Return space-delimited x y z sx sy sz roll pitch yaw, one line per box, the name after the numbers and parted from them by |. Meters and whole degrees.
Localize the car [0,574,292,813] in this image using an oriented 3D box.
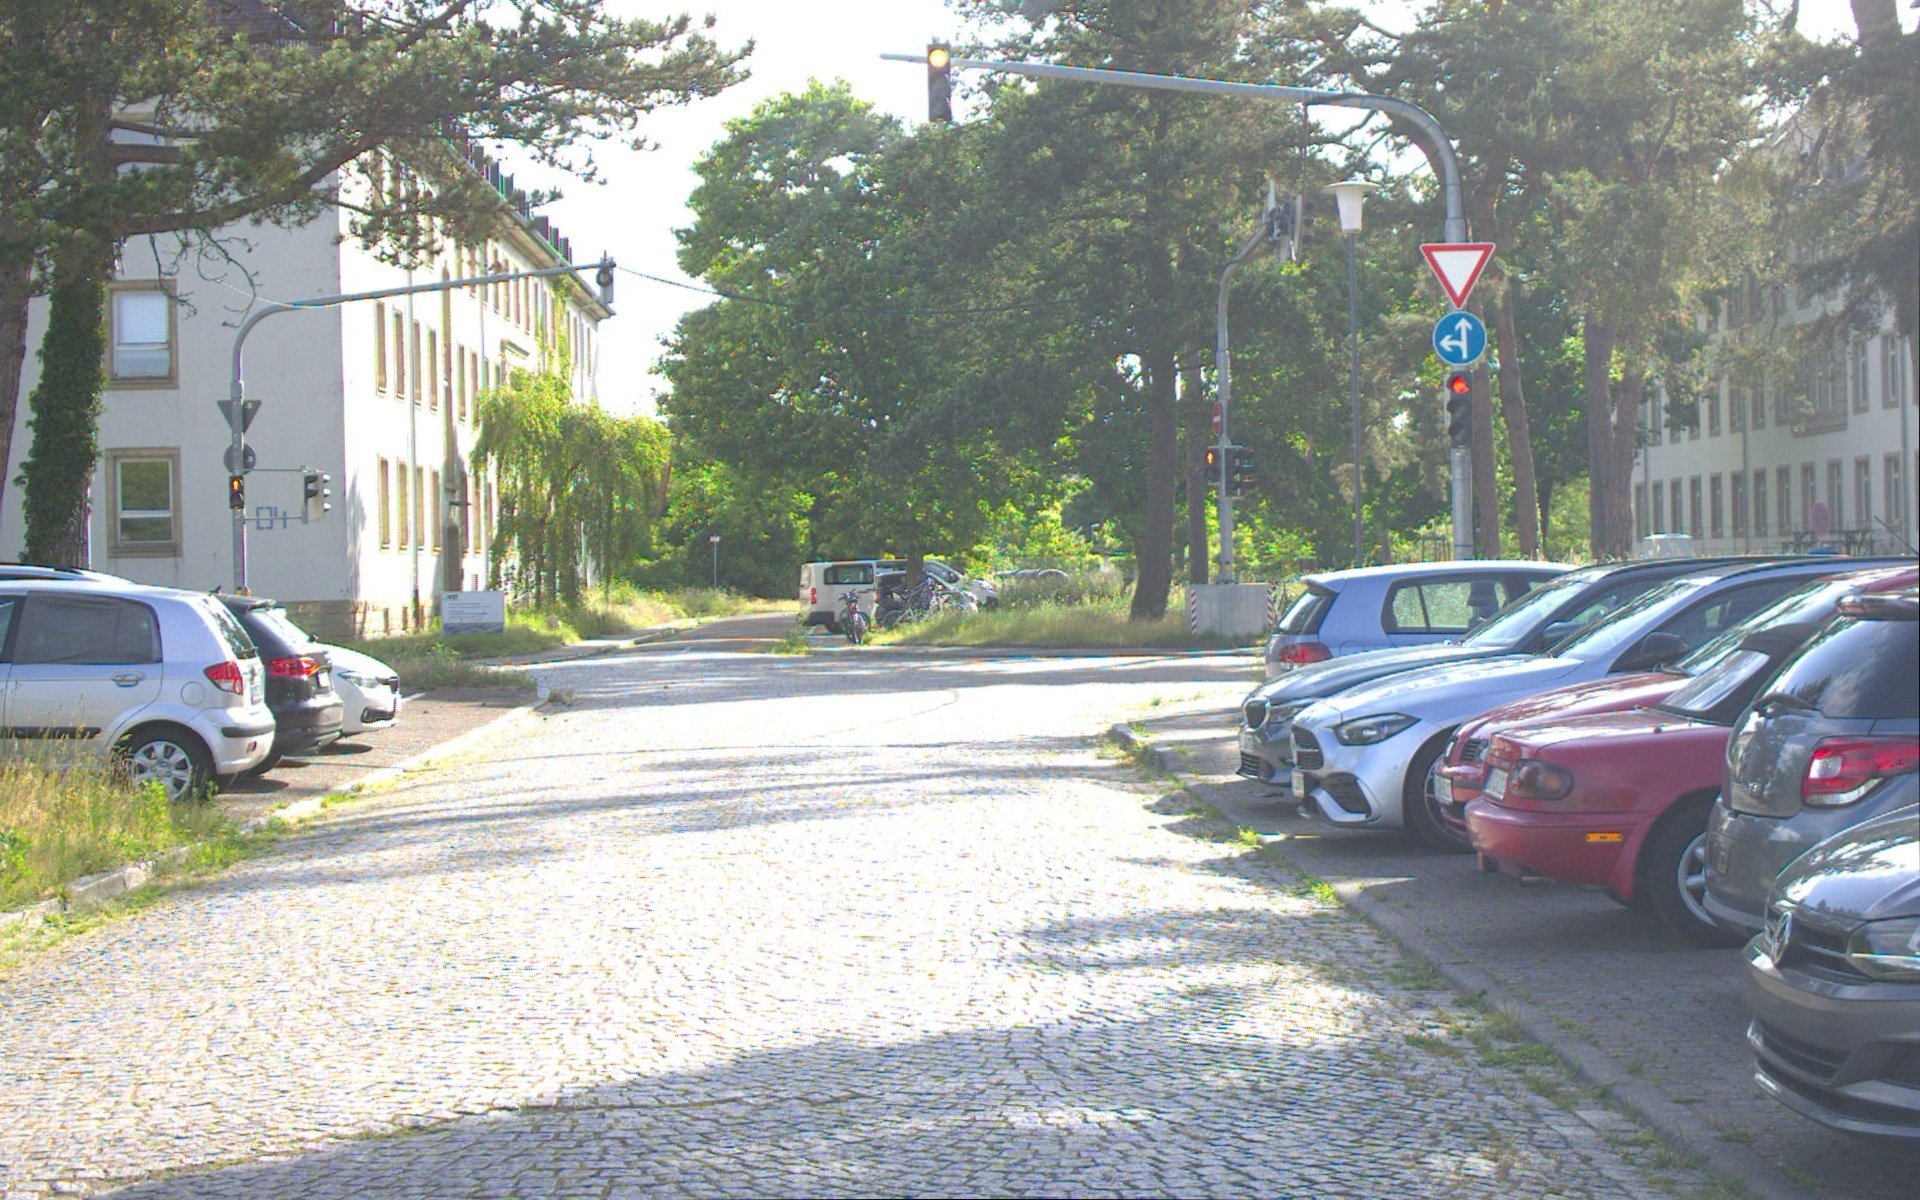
-6.445 0.581 22.856 3.745 1.482 1.646 1 1 -4 | car

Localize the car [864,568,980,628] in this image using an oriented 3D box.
-0.969 -0.048 87.217 2.781 1.462 1.671 1 0 -6 | car

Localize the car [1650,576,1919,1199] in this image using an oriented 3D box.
3.767 0.624 8.431 3.707 1.444 1.856 -3 1 -1 | car

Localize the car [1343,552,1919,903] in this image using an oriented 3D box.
3.999 0.534 16.245 4.127 1.444 1.637 -3 1 -1 | car

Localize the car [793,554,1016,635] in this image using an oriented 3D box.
-1.462 -0.130 90.847 5.520 2.007 2.001 1 0 -19 | car

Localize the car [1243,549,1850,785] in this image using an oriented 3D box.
4.013 0.437 23.940 3.882 1.410 1.637 -3 1 -1 | car

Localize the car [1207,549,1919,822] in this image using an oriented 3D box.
3.893 0.495 21.159 4.559 1.410 1.637 -3 1 -1 | car

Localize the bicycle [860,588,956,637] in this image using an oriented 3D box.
-1.131 0.274 74.451 2.004 1.007 0.632 1 0 -8 | bicycle

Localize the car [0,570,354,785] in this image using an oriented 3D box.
-6.609 0.535 25.451 3.986 1.475 1.803 1 1 -4 | car

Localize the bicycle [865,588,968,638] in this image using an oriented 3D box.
-0.919 0.275 72.741 2.108 1.007 0.621 1 0 -8 | bicycle

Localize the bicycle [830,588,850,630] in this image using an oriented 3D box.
-2.867 0.218 82.366 0.417 1.007 1.483 1 0 -1 | bicycle

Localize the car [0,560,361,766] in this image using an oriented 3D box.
-7.118 0.486 28.404 4.079 1.588 1.886 1 1 -4 | car

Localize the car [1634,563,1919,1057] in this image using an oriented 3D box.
4.299 0.569 11.364 3.707 1.444 1.816 -3 1 -1 | car

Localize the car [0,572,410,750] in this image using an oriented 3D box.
-7.204 0.522 30.788 4.333 1.463 1.831 1 1 -4 | car

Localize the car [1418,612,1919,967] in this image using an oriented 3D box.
3.859 0.691 13.960 3.707 1.219 1.746 -3 1 -1 | car

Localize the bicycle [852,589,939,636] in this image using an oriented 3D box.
-1.429 0.272 76.202 1.837 1.007 0.636 1 0 -8 | bicycle

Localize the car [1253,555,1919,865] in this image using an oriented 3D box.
3.900 0.535 18.443 4.432 1.410 1.781 -3 1 -1 | car

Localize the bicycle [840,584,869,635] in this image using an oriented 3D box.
-2.125 0.189 69.160 0.467 1.007 1.586 1 0 -5 | bicycle

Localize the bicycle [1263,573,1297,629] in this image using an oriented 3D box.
5.653 0.016 60.746 0.300 0.957 1.586 1 0 -5 | bicycle
